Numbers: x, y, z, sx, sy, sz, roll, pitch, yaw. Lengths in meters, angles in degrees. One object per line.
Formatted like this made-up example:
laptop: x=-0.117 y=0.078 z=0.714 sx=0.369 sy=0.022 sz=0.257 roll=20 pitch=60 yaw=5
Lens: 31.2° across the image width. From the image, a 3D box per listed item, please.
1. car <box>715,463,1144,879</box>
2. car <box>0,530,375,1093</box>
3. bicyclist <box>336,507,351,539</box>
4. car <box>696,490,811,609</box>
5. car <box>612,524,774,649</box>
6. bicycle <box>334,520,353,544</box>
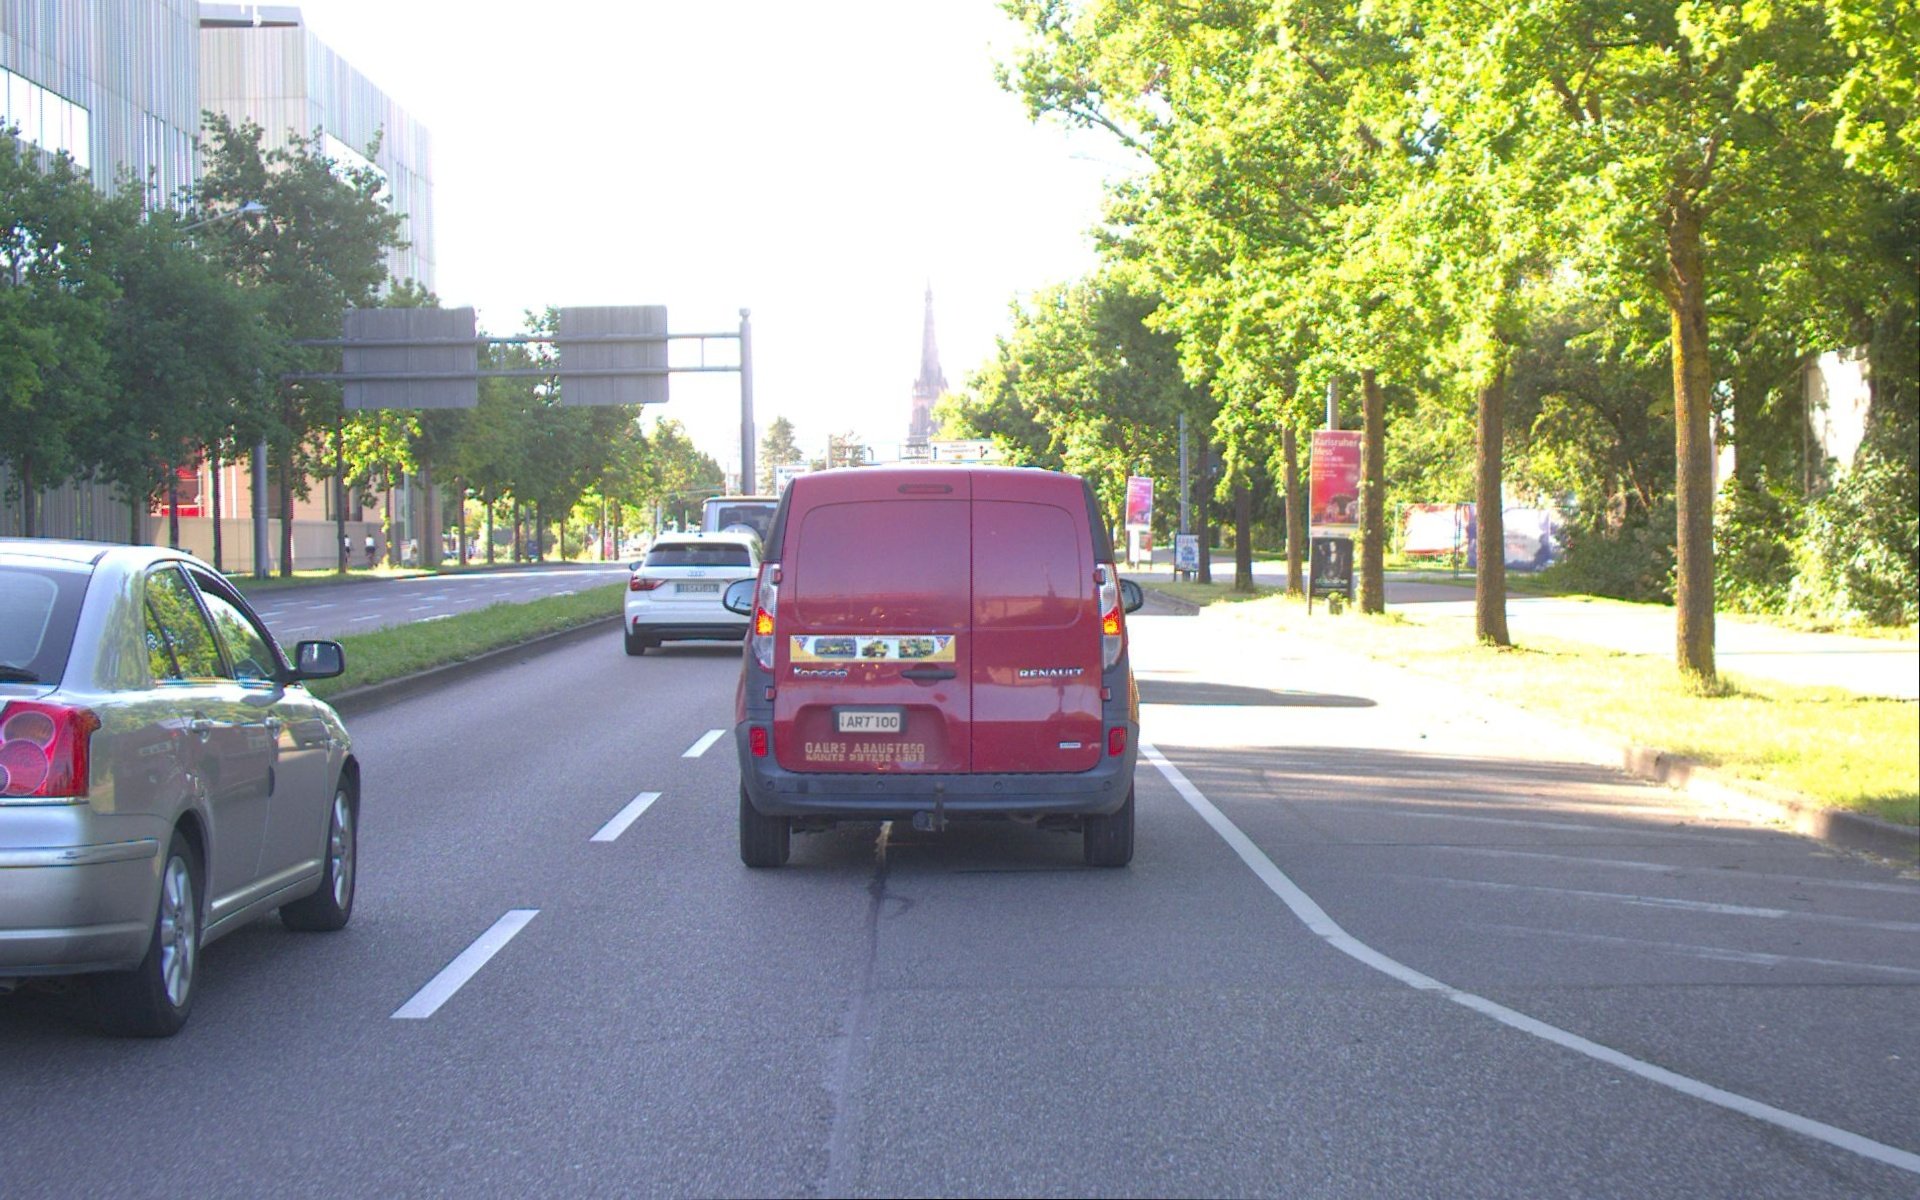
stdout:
car: x=-0.153 y=0.257 z=16.497 sx=1.806 sy=1.753 sz=4.006 roll=0 pitch=1 yaw=-1
car: x=-3.150 y=0.509 z=11.034 sx=1.841 sy=1.451 sz=4.162 roll=0 pitch=1 yaw=0
bicyclist: x=-26.701 y=-3.334 z=148.861 sx=0.482 sy=1.390 sz=0.844 roll=-1 pitch=1 yaw=-1
car: x=-3.340 y=-0.833 z=56.093 sx=1.661 sy=1.850 sz=3.559 roll=-1 pitch=1 yaw=-1
car: x=-3.136 y=-0.192 z=40.907 sx=1.661 sy=1.393 sz=3.559 roll=-1 pitch=1 yaw=-1
bicycle: x=-26.696 y=-2.934 z=148.935 sx=0.487 sy=1.000 sz=2.096 roll=-1 pitch=1 yaw=-1
